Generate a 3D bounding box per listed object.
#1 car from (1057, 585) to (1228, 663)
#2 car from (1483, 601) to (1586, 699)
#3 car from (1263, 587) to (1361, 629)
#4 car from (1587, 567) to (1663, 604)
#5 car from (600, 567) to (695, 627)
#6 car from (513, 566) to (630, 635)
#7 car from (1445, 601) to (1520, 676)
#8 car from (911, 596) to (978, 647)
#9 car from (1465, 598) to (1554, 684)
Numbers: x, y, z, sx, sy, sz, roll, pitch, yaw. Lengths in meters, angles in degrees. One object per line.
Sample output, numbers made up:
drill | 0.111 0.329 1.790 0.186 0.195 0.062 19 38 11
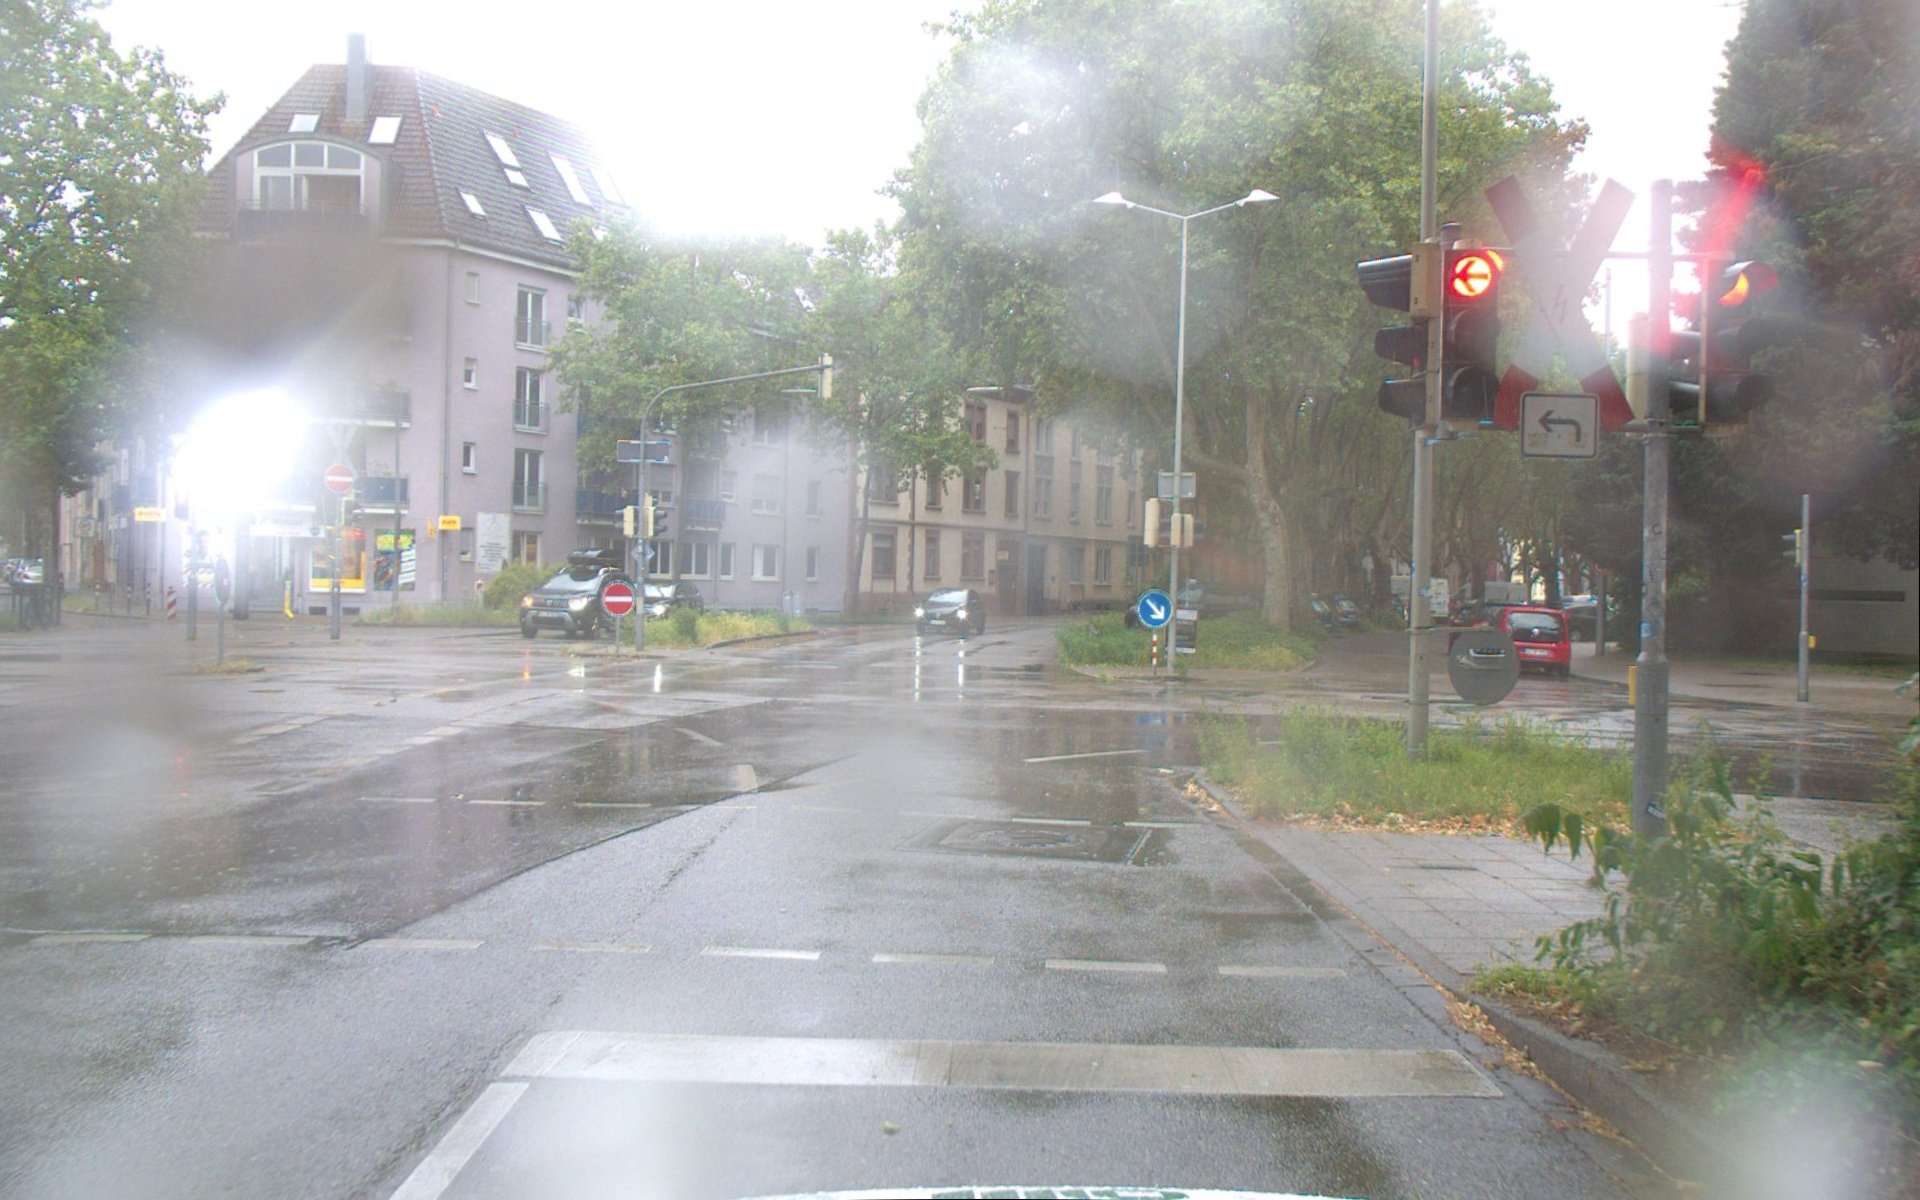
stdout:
car | 3.780 0.473 34.115 3.405 1.550 1.521 0 1 8
car | 13.059 1.078 37.789 1.951 2.049 4.003 0 1 15
car | 14.196 0.324 66.746 3.537 1.646 1.679 0 1 28
car | 37.713 -0.805 93.876 3.903 2.049 1.708 0 1 19
car | -8.649 -0.104 46.050 1.688 1.579 3.562 0 1 5
car | -9.323 -0.009 39.934 1.688 1.579 3.562 0 1 5
car | 15.411 1.088 48.924 1.951 2.049 4.003 0 1 15
car | -0.472 0.676 54.169 1.568 1.579 3.563 0 1 10
car | 14.085 0.999 42.582 1.951 2.049 4.003 0 1 15
